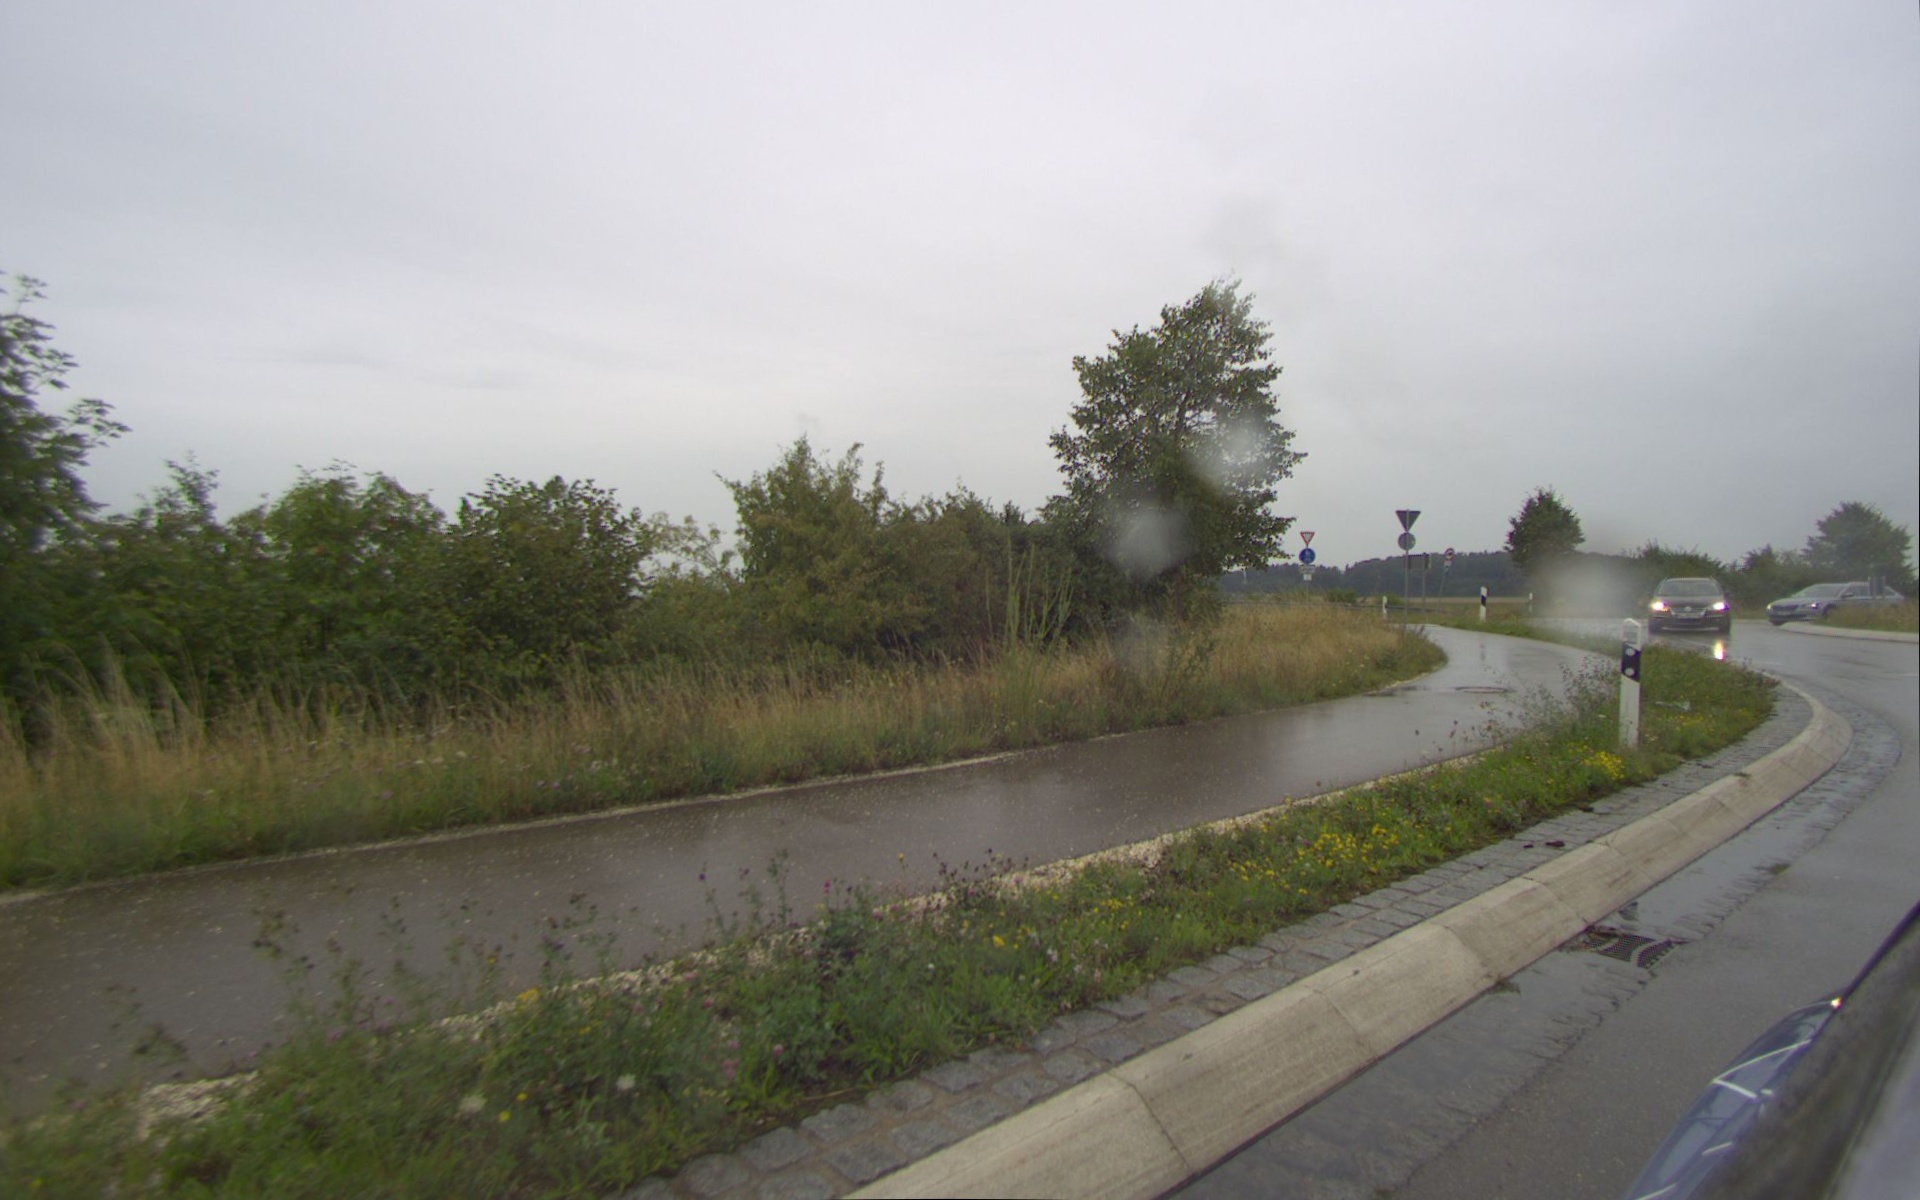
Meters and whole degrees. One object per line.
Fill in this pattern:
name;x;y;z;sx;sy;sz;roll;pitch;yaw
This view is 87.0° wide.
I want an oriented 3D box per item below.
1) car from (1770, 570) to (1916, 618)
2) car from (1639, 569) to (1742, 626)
car;29.854;-0.196;34.213;4.408;1.439;1.768;2;1;-20
car;19.709;-0.059;27.459;1.936;1.388;4.451;2;1;32
